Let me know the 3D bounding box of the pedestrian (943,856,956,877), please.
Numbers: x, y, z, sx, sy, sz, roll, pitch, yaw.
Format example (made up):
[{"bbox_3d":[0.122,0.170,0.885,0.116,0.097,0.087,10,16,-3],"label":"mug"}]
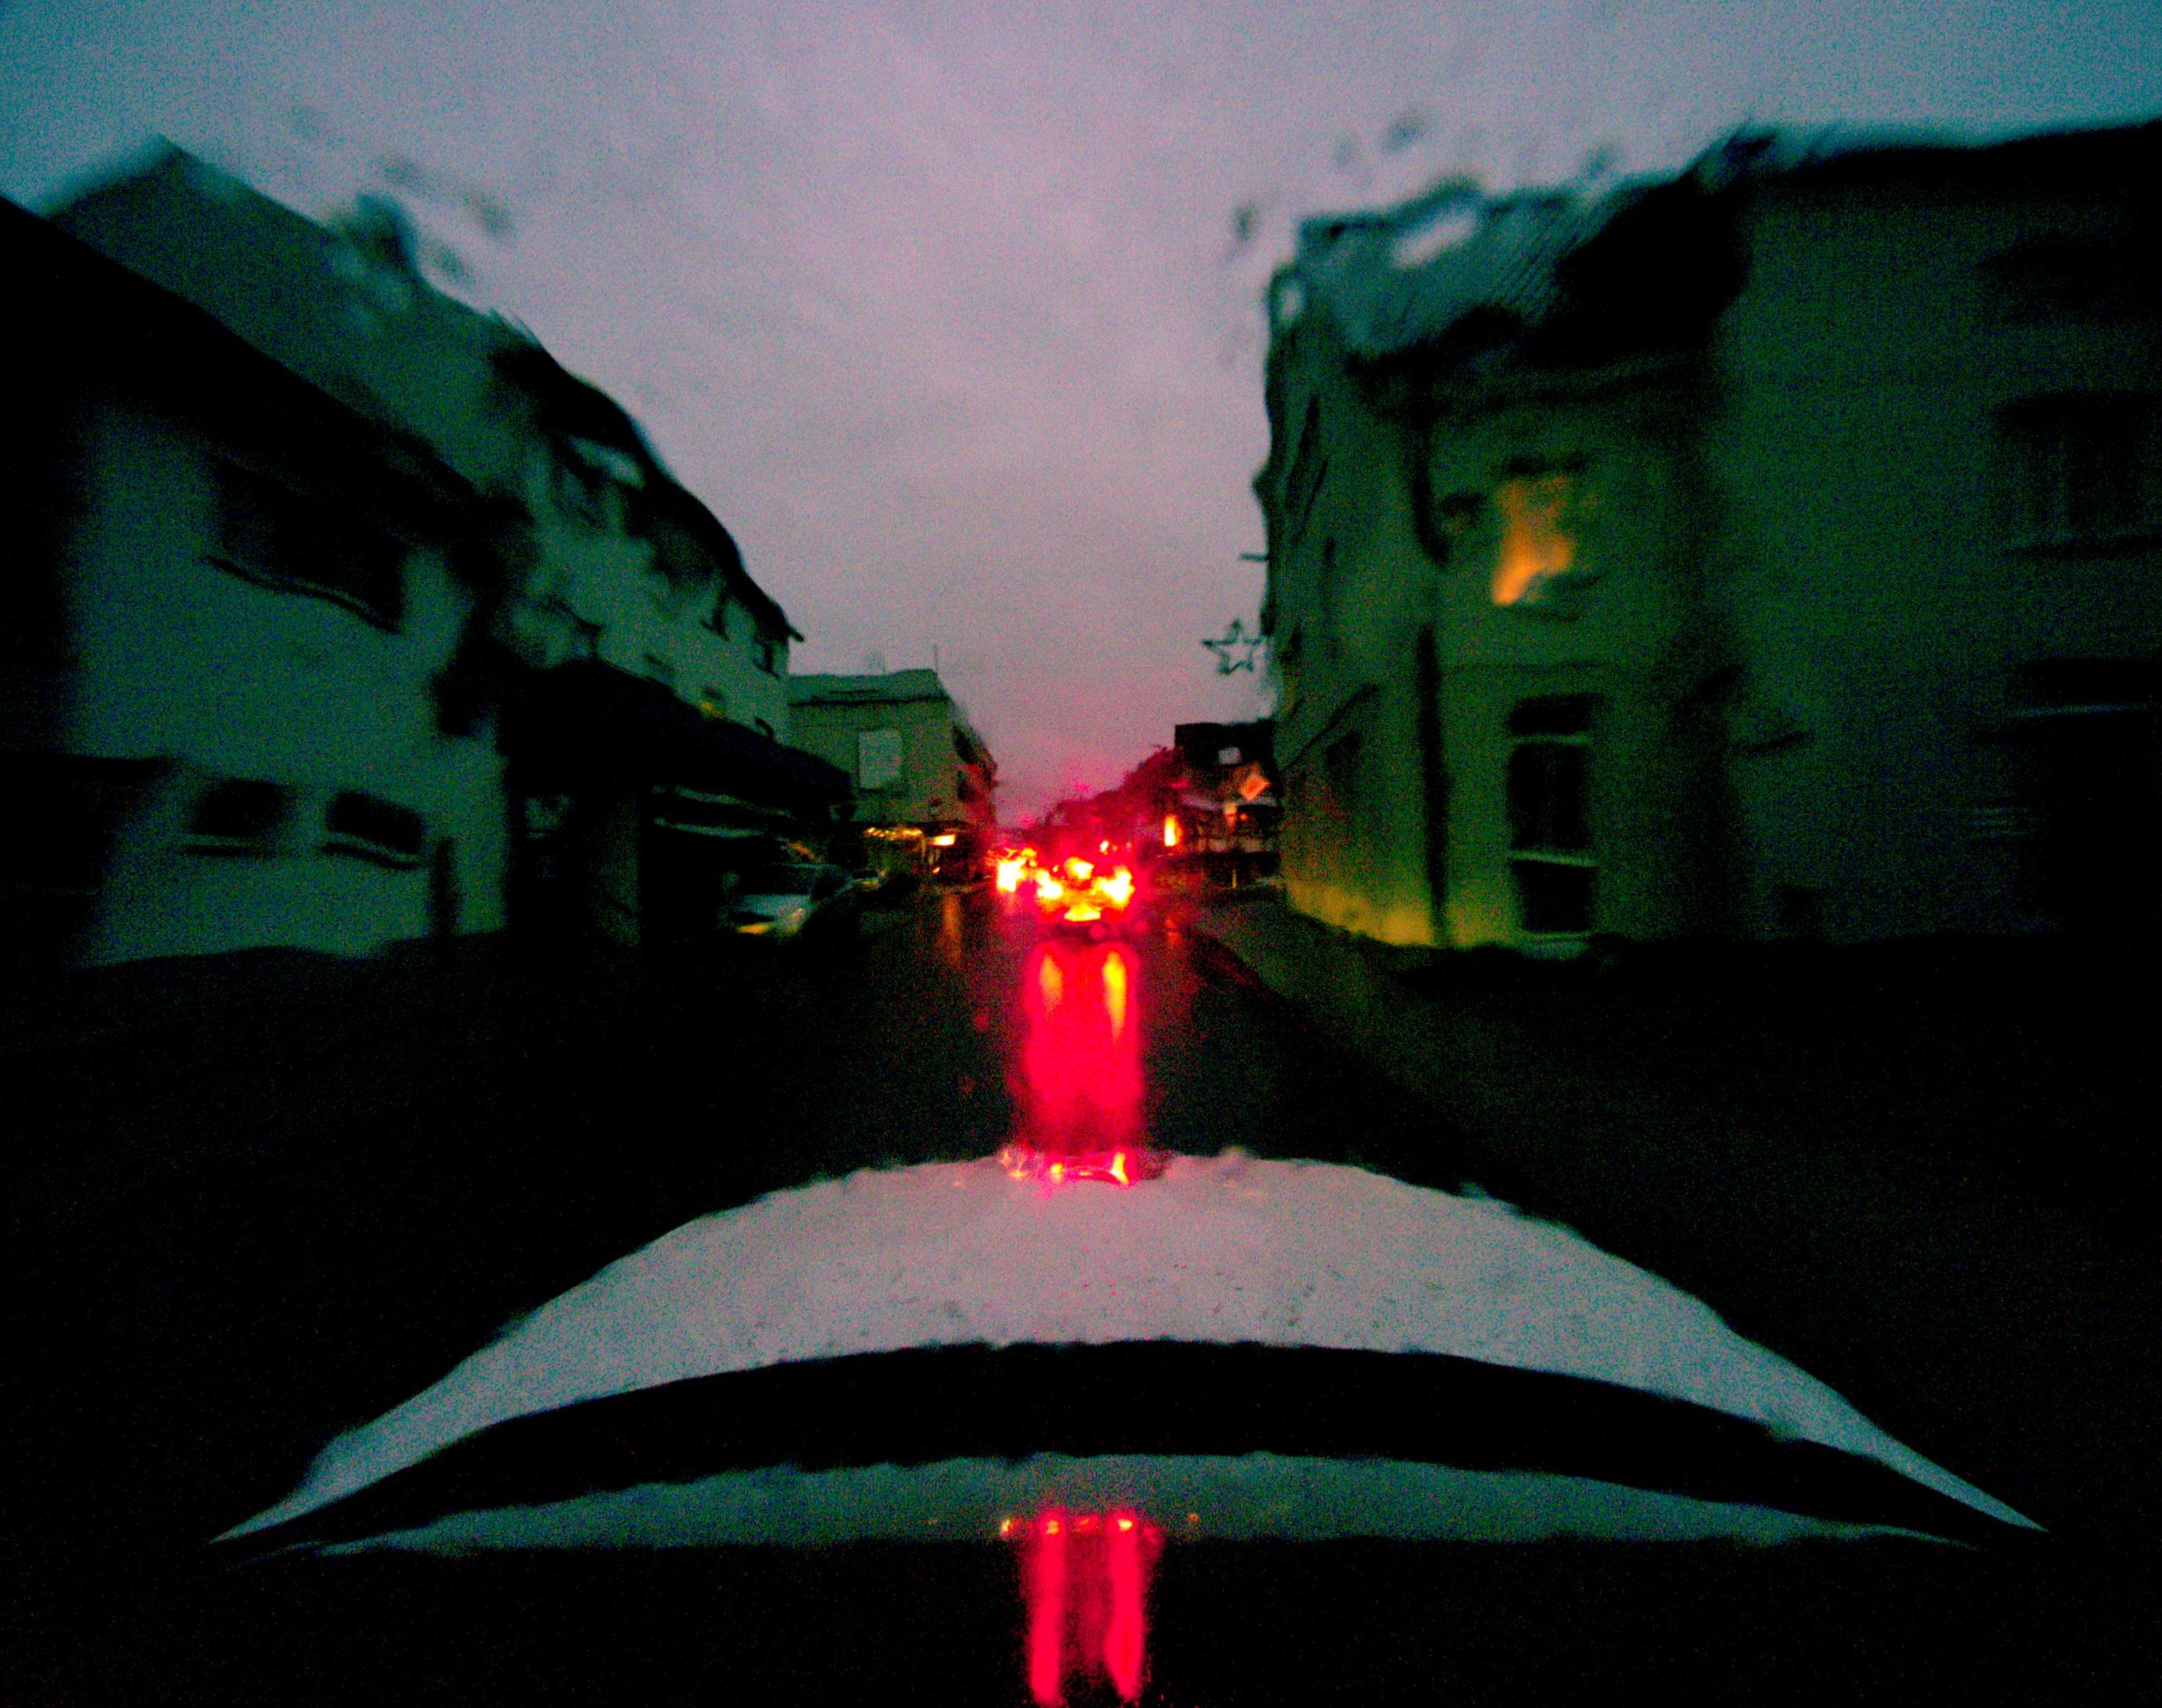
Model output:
[{"bbox_3d":[-8.535,0.813,52.964,0.754,1.310,0.827,-1,-1,-3],"label":"pedestrian"}]

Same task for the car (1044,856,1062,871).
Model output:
[{"bbox_3d":[-2.693,0.898,78.831,1.633,1.481,3.269,-1,0,-1],"label":"car"}]

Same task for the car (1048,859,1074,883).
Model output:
[{"bbox_3d":[-1.263,1.065,52.531,1.633,1.481,3.377,-1,-1,-1],"label":"car"}]

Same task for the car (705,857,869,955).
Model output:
[{"bbox_3d":[-5.427,0.880,15.576,1.715,1.614,3.815,0,0,0],"label":"car"}]

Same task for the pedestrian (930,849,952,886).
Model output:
[{"bbox_3d":[-7.629,0.744,44.320,0.975,1.938,1.196,-2,0,-15],"label":"pedestrian"}]

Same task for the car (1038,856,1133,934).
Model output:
[{"bbox_3d":[0.154,0.780,17.321,1.763,1.447,3.729,-2,0,2],"label":"car"}]

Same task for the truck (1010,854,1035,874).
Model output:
[{"bbox_3d":[-9.546,1.580,132.833,3.017,3.129,7.968,-1,0,-11],"label":"truck"}]

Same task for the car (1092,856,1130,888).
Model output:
[{"bbox_3d":[1.515,0.900,42.551,1.727,1.459,3.998,-4,0,-1],"label":"car"}]

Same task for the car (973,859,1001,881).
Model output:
[{"bbox_3d":[-6.976,1.172,60.745,1.610,1.533,3.927,0,0,-1],"label":"car"}]

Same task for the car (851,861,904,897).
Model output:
[{"bbox_3d":[-10.109,1.189,40.711,1.760,1.499,4.444,-3,1,-4],"label":"car"}]

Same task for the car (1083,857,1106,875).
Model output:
[{"bbox_3d":[1.168,1.042,74.418,1.790,1.460,4.527,-4,0,-2],"label":"car"}]
